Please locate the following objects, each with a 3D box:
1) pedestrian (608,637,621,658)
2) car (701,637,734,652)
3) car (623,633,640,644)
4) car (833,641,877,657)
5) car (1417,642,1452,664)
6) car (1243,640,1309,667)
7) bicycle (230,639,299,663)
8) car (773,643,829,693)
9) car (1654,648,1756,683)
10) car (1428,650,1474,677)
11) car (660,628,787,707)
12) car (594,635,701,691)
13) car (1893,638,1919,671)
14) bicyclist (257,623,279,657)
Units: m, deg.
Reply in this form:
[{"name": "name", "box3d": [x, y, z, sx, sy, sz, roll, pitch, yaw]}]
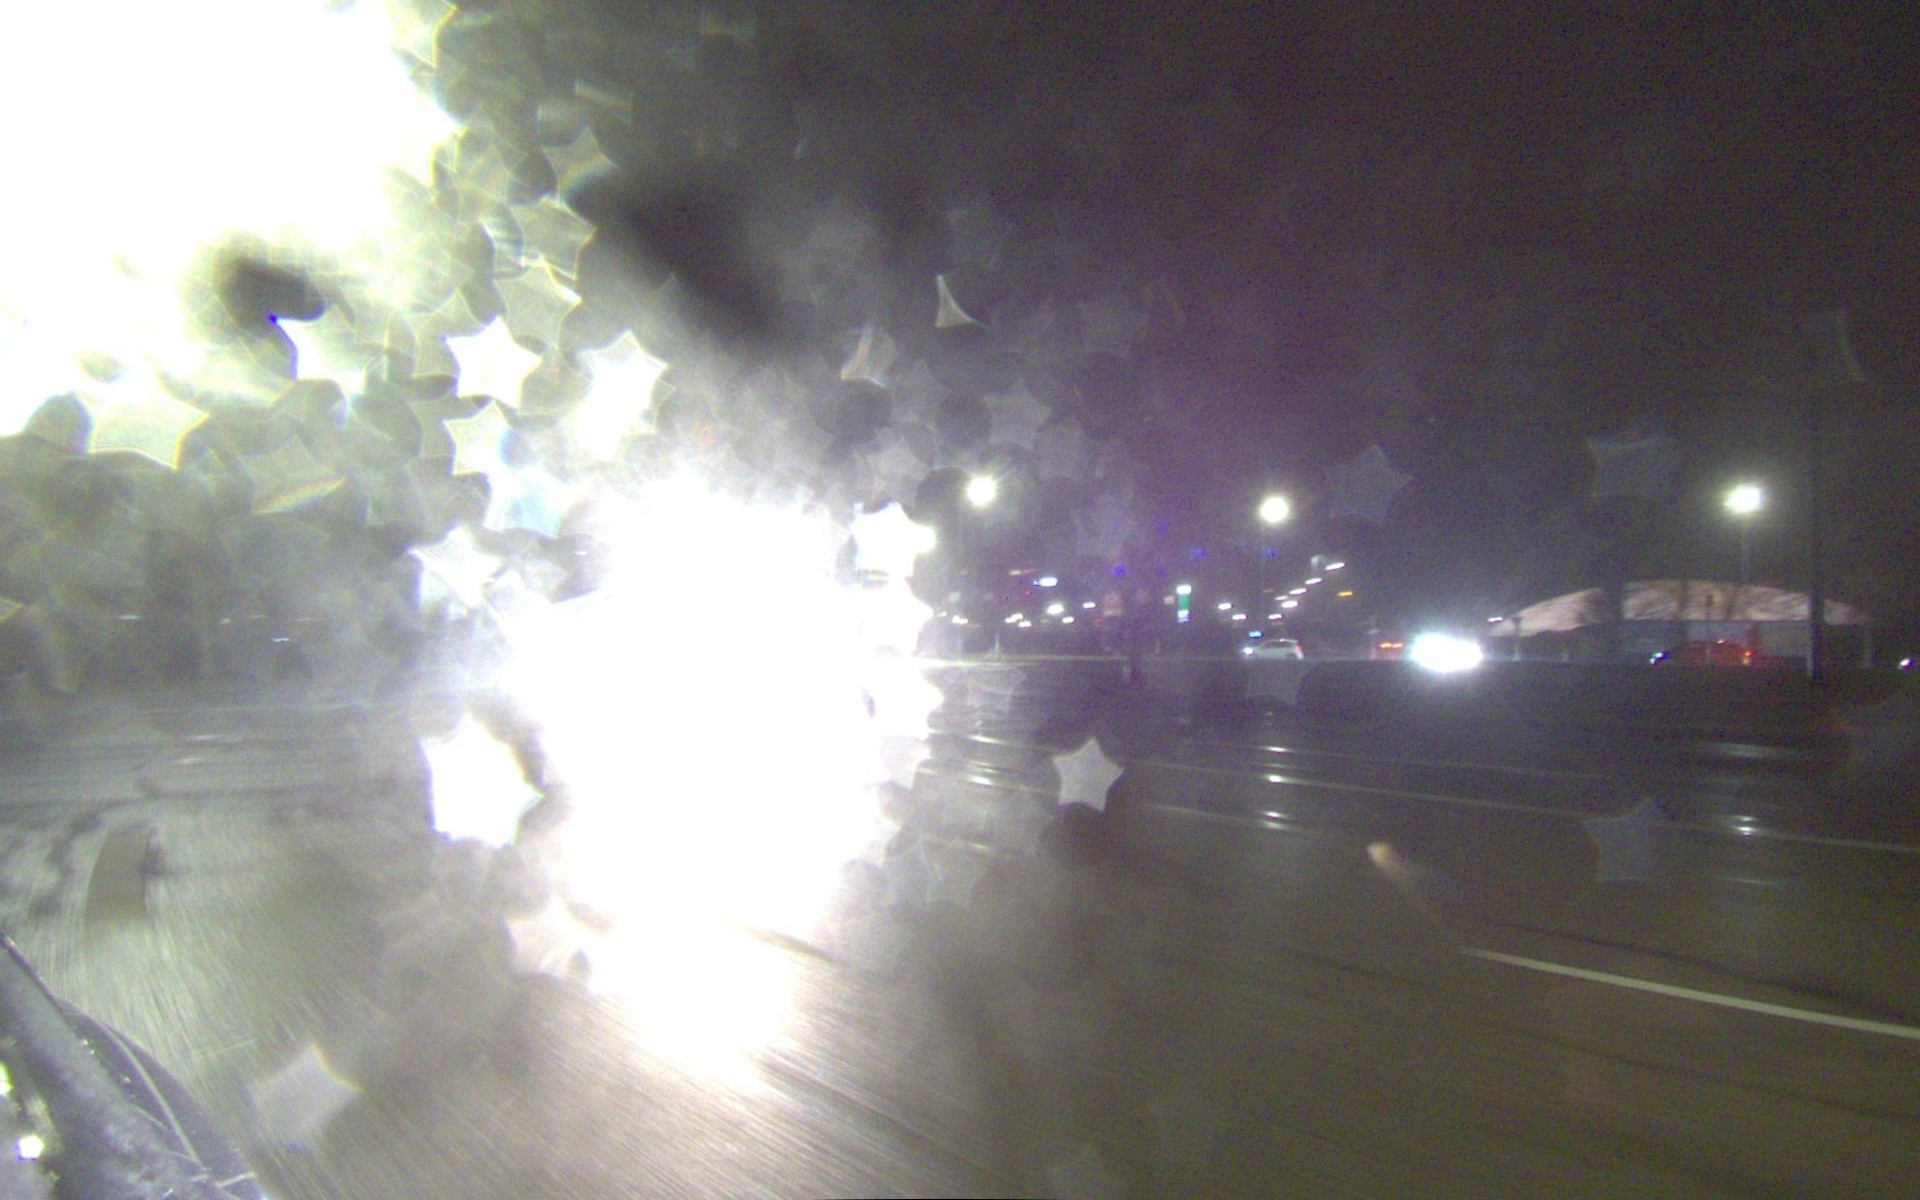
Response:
[{"name": "pedestrian", "box3d": [-25.331, 3.496, 74.251, 0.716, 1.496, 0.838, 1, -2, -32]}, {"name": "car", "box3d": [-30.519, 5.603, 127.285, 2.037, 1.729, 5.049, 1, -3, -39]}, {"name": "car", "box3d": [-49.913, 5.859, 153.849, 2.035, 1.729, 5.054, 0, -2, -14]}, {"name": "car", "box3d": [-9.755, 4.559, 93.983, 3.943, 1.383, 1.806, -2, -3, 39]}, {"name": "car", "box3d": [36.349, 4.037, 77.580, 1.664, 1.542, 3.980, -1, -2, 15]}, {"name": "car", "box3d": [20.138, 3.403, 64.466, 3.847, 1.630, 1.760, -2, -2, 23]}, {"name": "bicycle", "box3d": [-29.696, 2.176, 43.243, 2.380, 0.984, 0.623, 0, -2, -17]}, {"name": "car", "box3d": [-6.008, 2.540, 38.602, 1.807, 1.719, 4.198, -1, -2, -5]}, {"name": "car", "box3d": [36.833, 3.238, 50.138, 3.860, 1.630, 1.754, -2, -2, 32]}, {"name": "car", "box3d": [32.074, 4.145, 66.251, 1.741, 1.586, 3.985, -1, -2, 12]}, {"name": "car", "box3d": [-5.057, 1.403, 22.273, 1.808, 1.538, 4.876, -1, -2, -2]}, {"name": "car", "box3d": [-10.333, 2.042, 33.822, 1.927, 1.732, 4.435, -1, -2, 4]}, {"name": "car", "box3d": [44.408, 2.440, 45.086, 1.805, 1.455, 4.023, 1, -3, -42]}, {"name": "bicyclist", "box3d": [-29.601, 1.715, 43.282, 0.595, 1.458, 0.618, 0, -2, -16]}]
